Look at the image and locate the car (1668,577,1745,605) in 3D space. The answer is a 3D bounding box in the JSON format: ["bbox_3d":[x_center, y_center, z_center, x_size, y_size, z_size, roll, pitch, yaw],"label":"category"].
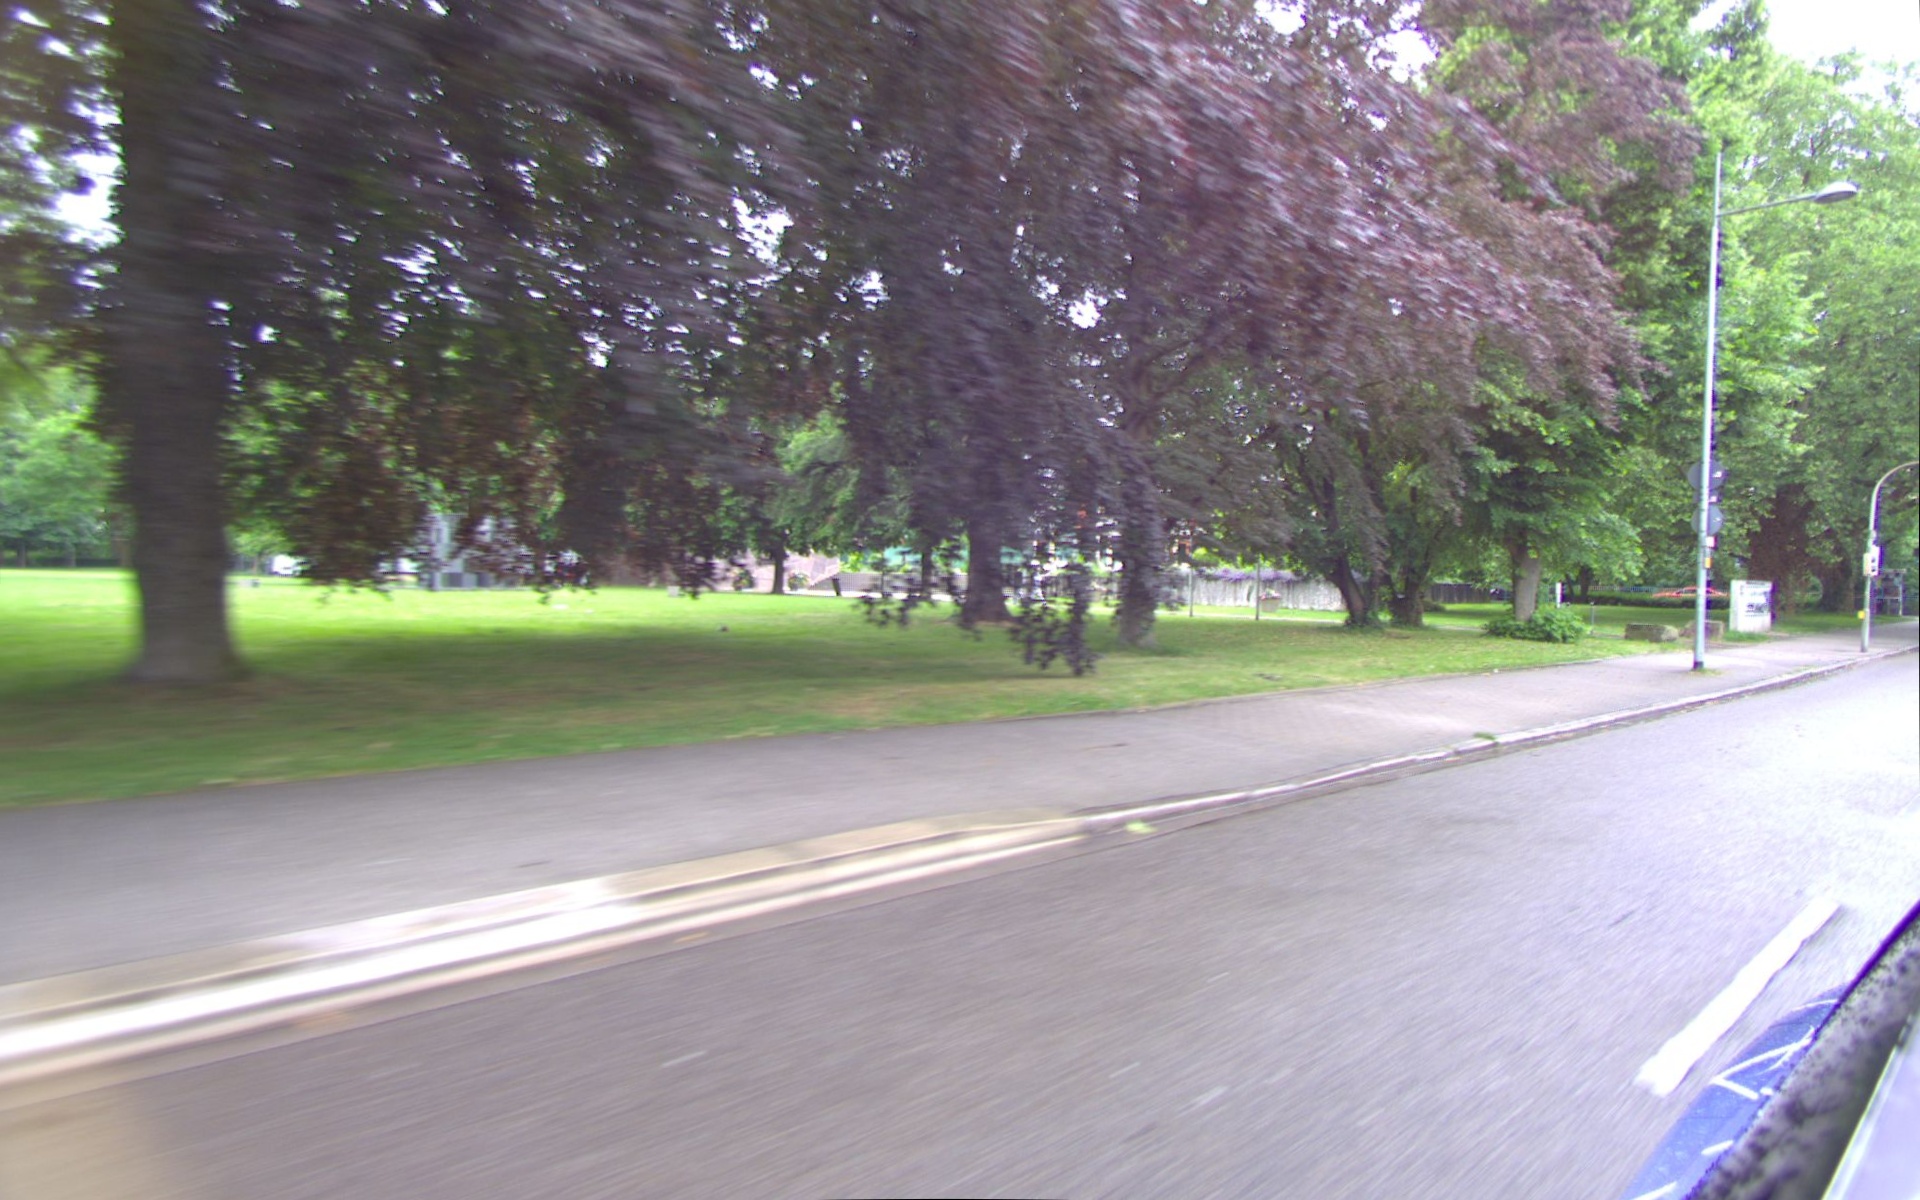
[{"bbox_3d":[51.574,-0.641,69.949,1.966,1.737,3.992,0,2,-43],"label":"car"}]

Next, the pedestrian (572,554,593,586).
[{"bbox_3d":[-21.614,-1.717,57.995,0.838,1.785,0.844,-2,-1,44],"label":"pedestrian"}]

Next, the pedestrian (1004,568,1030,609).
[{"bbox_3d":[2.551,-0.508,45.001,0.838,1.785,0.760,-2,-1,44],"label":"pedestrian"}]

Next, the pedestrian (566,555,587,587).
[{"bbox_3d":[-22.268,-1.678,58.756,0.767,1.785,0.829,-2,-1,37],"label":"pedestrian"}]
